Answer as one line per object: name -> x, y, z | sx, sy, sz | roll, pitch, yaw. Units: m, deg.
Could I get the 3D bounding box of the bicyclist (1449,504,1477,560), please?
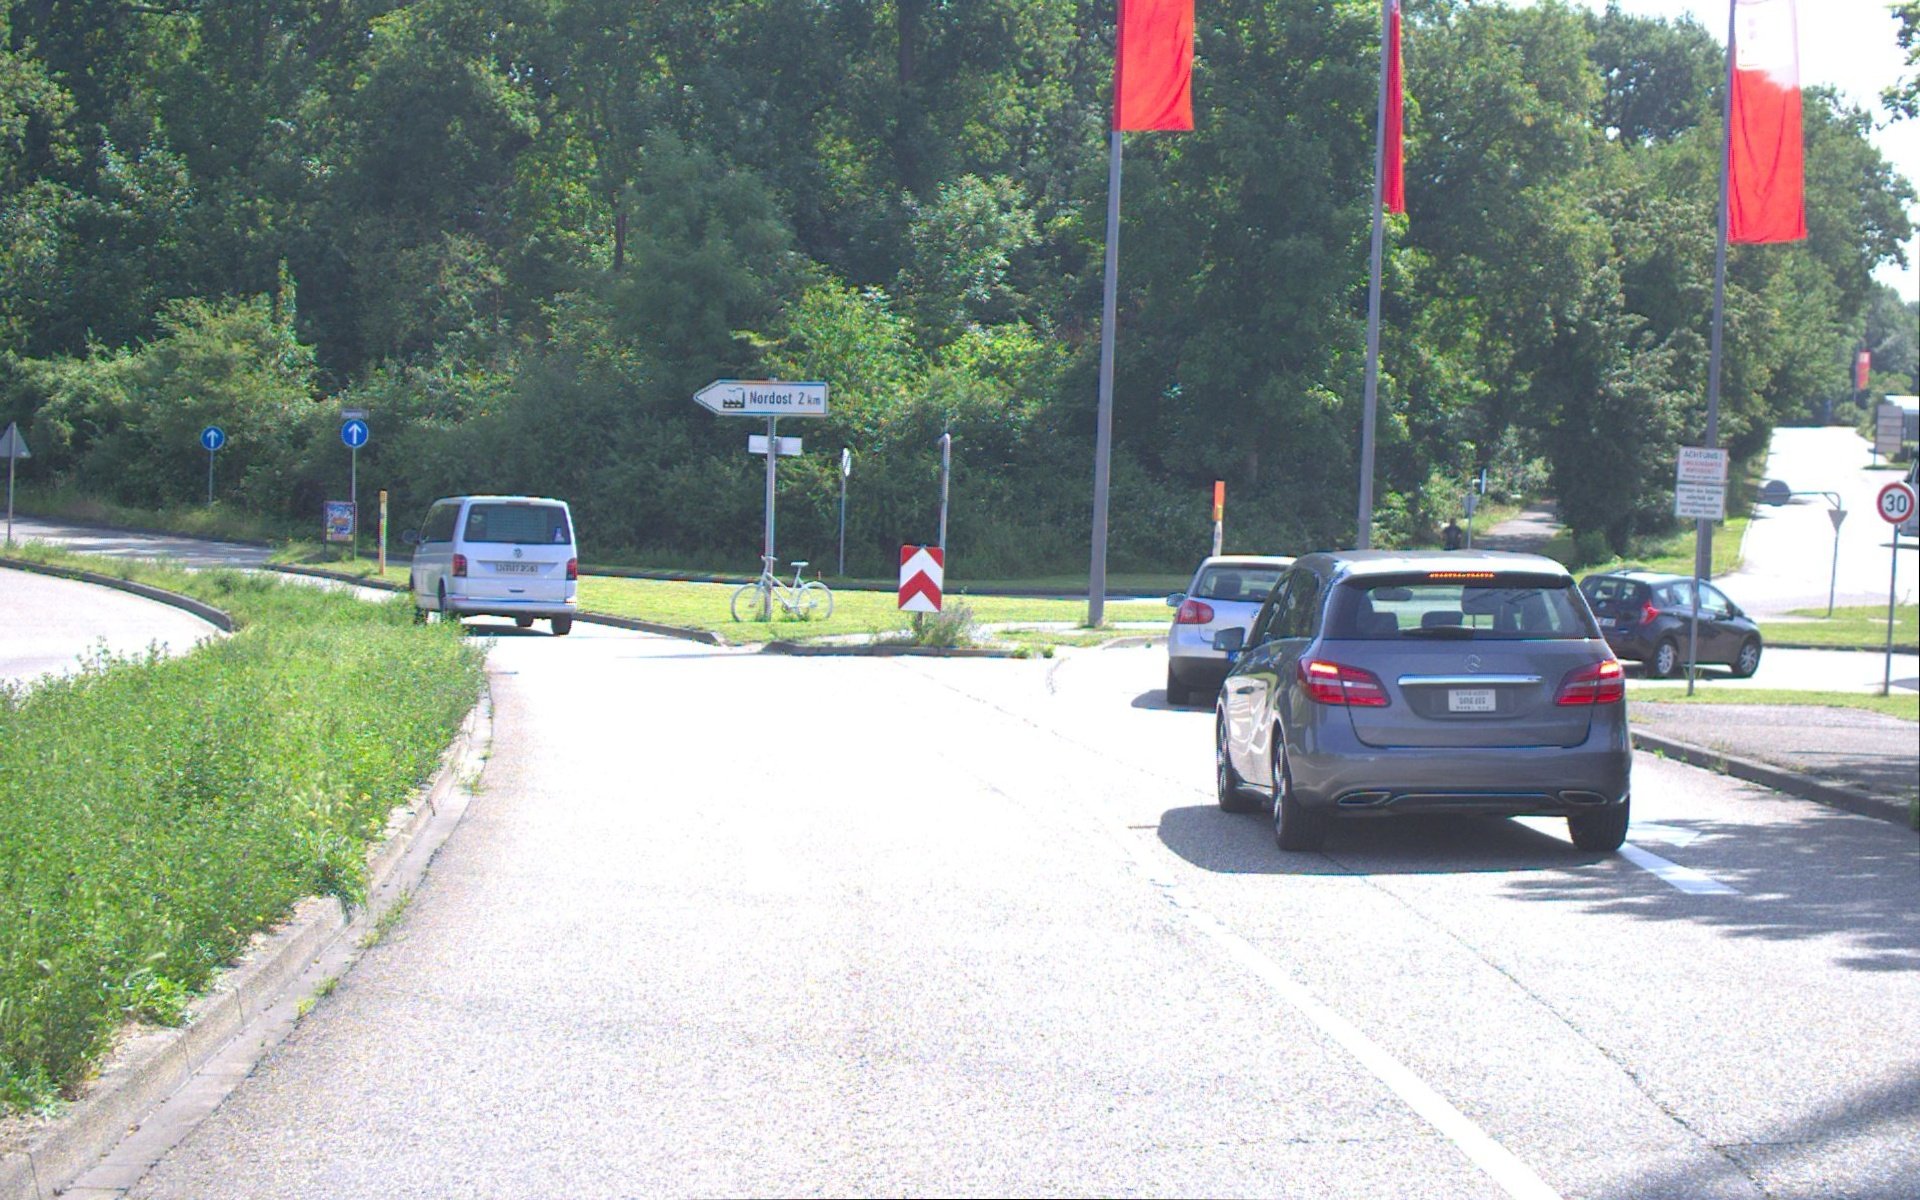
bicyclist -> 14.264, -1.921, 97.531 | 0.675, 1.528, 0.846 | 3, 4, 12

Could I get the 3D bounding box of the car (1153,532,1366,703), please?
car -> 2.931, 0.124, 34.392 | 1.856, 1.524, 4.144 | 3, 1, 2

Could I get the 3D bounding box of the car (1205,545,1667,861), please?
car -> 2.445, 0.469, 18.665 | 1.856, 1.524, 4.144 | 0, 1, -1

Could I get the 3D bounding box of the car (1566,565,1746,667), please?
car -> 10.570, 0.210, 52.041 | 1.776, 1.327, 3.736 | 5, 3, 24

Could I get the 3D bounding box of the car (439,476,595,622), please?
car -> -6.517, -0.780, 50.303 | 2.038, 2.007, 4.001 | 1, 2, -10

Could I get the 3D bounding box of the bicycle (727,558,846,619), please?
bicycle -> -2.552, -0.168, 50.757 | 1.783, 0.886, 0.271 | 0, 2, -26

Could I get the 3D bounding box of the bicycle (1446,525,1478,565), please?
bicycle -> 14.281, -1.570, 97.695 | 0.724, 0.974, 2.186 | 3, 5, 12
